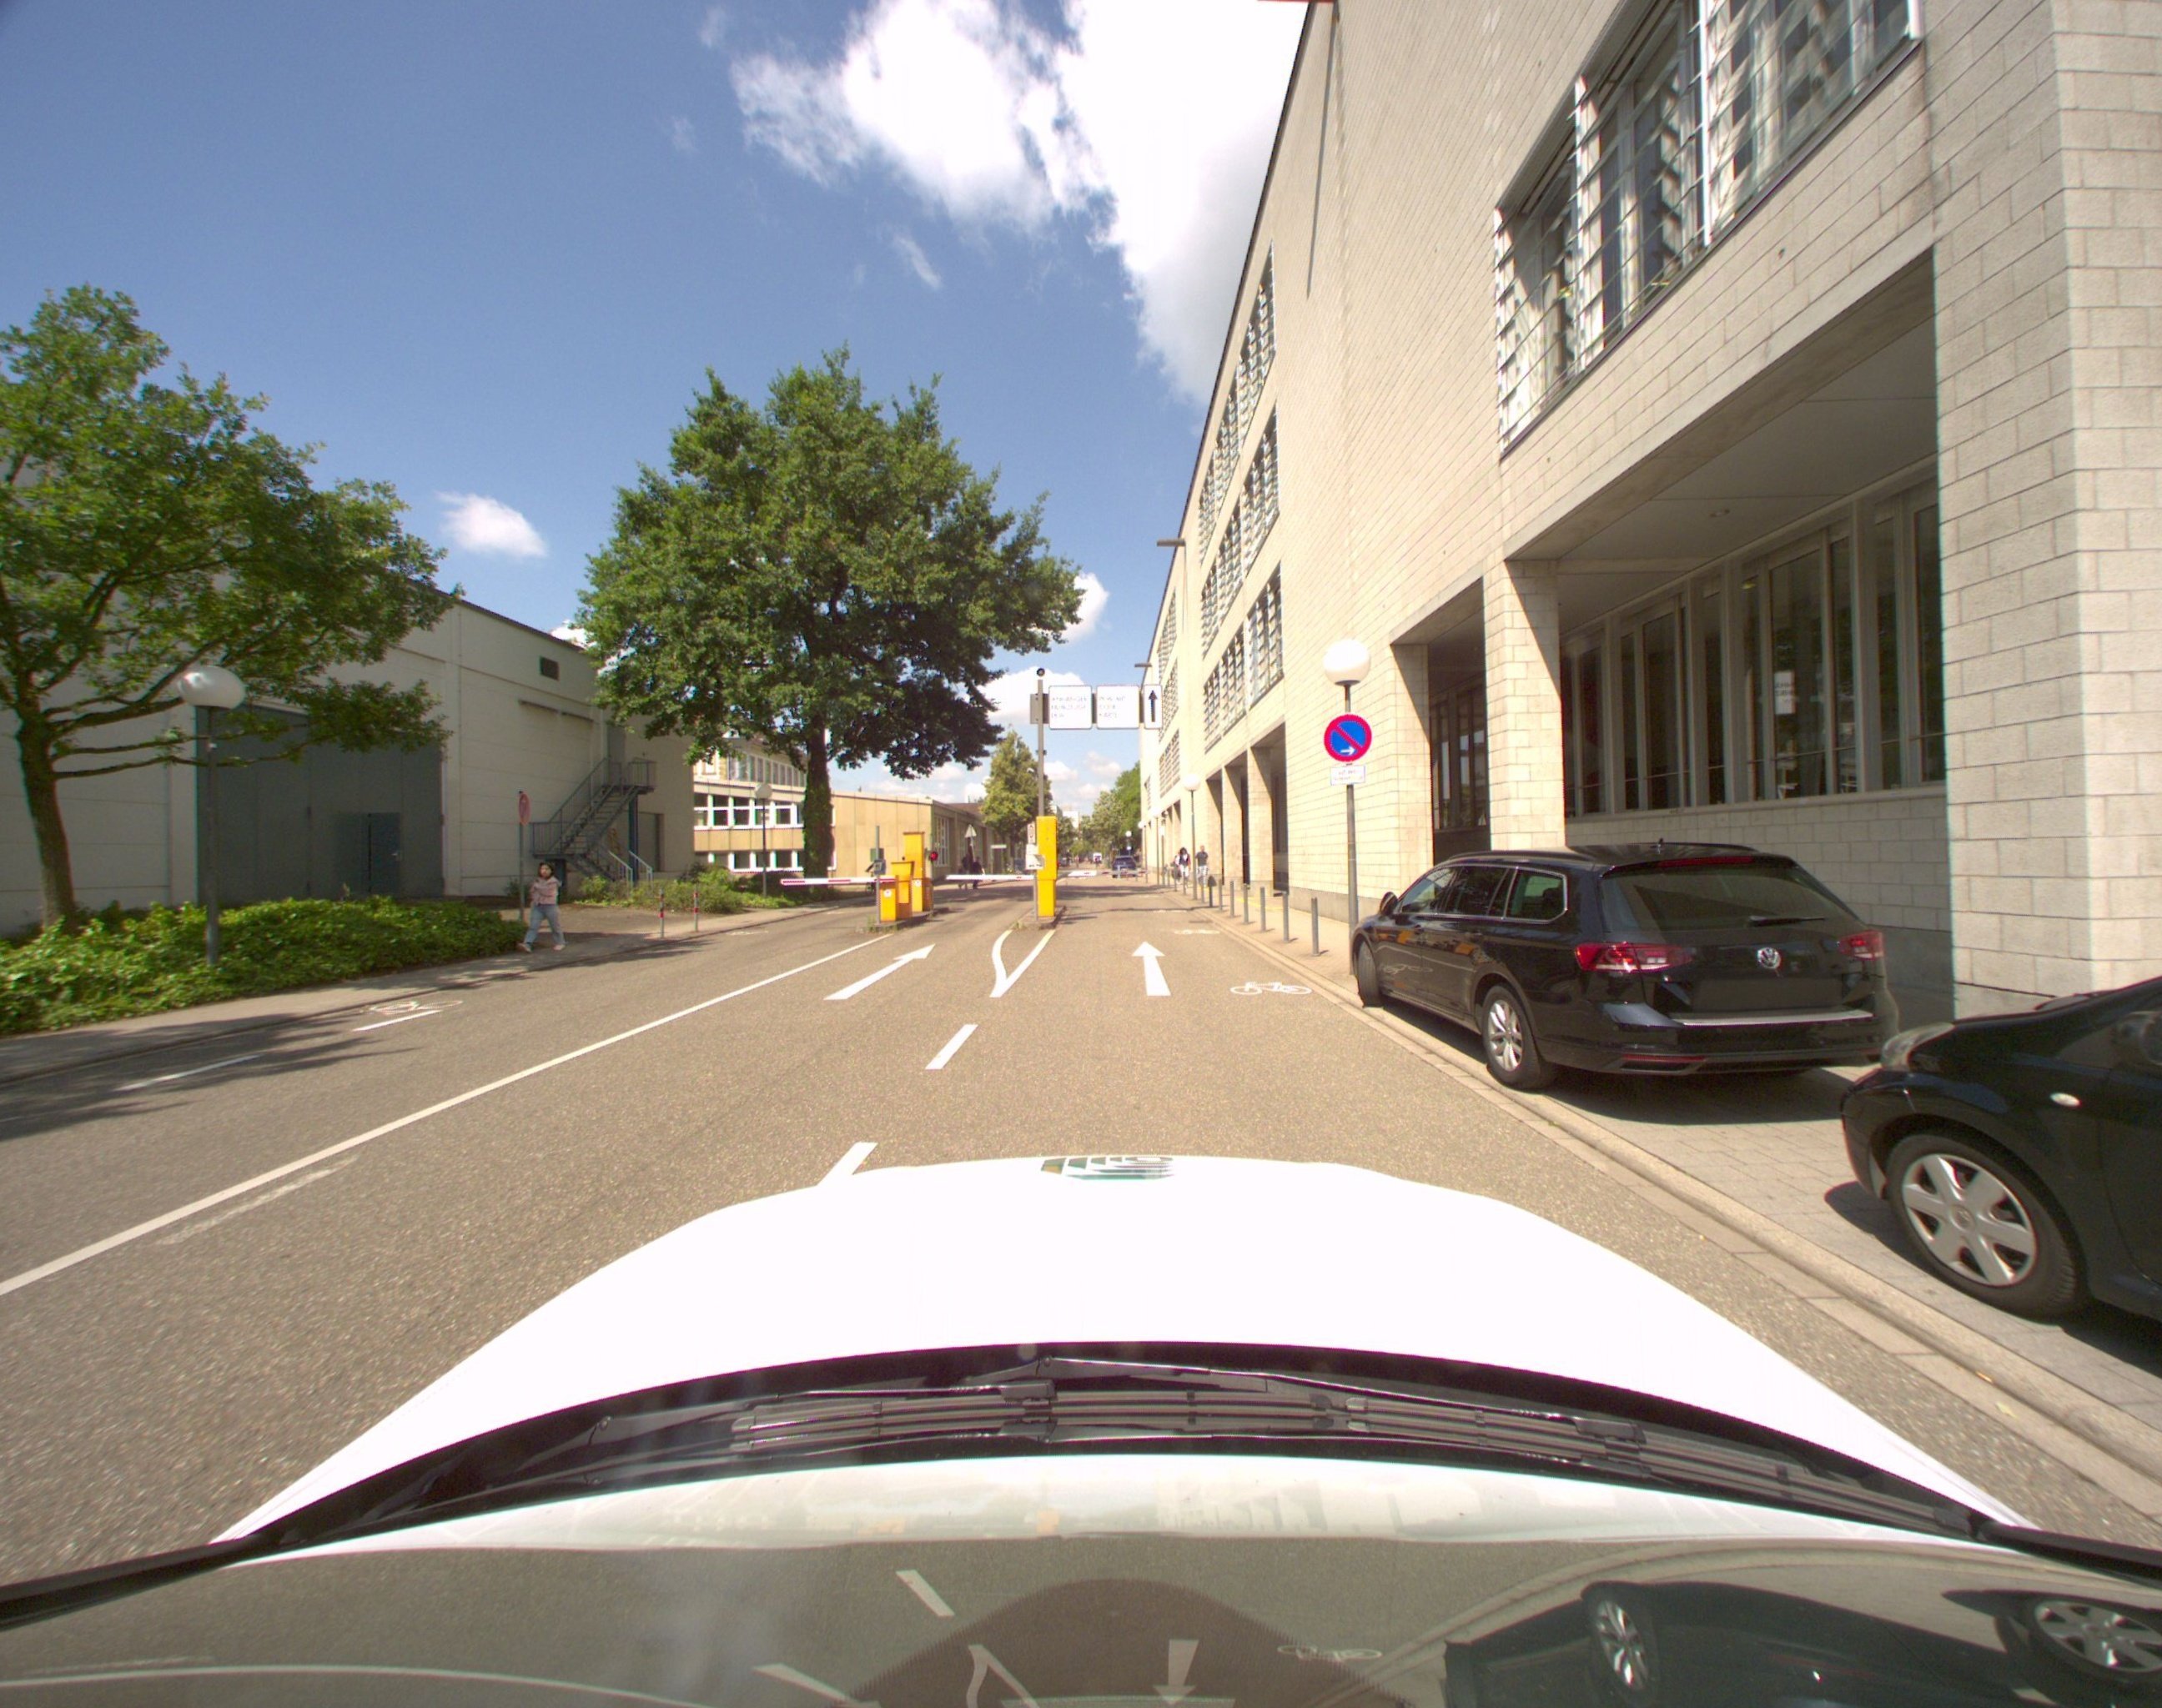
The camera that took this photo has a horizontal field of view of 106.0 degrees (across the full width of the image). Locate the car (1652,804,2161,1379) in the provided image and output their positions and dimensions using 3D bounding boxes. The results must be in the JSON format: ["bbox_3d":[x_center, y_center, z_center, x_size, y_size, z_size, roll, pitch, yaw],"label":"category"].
[{"bbox_3d":[3.605,0.601,1.977,1.609,1.496,4.005,-1,0,0],"label":"car"}]

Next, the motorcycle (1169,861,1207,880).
[{"bbox_3d":[6.286,0.969,48.009,2.114,1.023,0.660,-3,-2,2],"label":"motorcycle"}]

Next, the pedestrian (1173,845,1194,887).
[{"bbox_3d":[4.474,0.536,35.721,0.692,1.780,1.085,-3,0,-1],"label":"pedestrian"}]

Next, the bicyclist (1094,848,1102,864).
[{"bbox_3d":[2.299,0.237,112.189,0.984,2.132,1.036,-2,-2,0],"label":"bicyclist"}]

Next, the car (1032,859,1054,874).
[{"bbox_3d":[-4.179,1.402,90.026,1.986,1.546,4.213,-1,0,2],"label":"car"}]

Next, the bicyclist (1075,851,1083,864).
[{"bbox_3d":[-0.357,0.545,124.824,0.988,1.884,1.031,-1,-2,-13],"label":"bicyclist"}]

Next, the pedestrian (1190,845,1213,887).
[{"bbox_3d":[5.262,0.502,35.671,0.764,1.780,0.910,-3,0,-1],"label":"pedestrian"}]

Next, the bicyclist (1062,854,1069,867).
[{"bbox_3d":[-2.318,1.034,124.617,0.986,1.884,1.034,-1,-2,-6],"label":"bicyclist"}]

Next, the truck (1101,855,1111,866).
[{"bbox_3d":[5.033,1.346,164.898,1.987,2.014,3.998,-2,-2,0],"label":"truck"}]

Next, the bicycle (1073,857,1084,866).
[{"bbox_3d":[-0.358,1.118,124.843,0.988,1.316,2.949,-1,-2,-14],"label":"bicycle"}]

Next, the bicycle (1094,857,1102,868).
[{"bbox_3d":[2.334,1.159,112.216,0.984,1.316,2.964,-2,-2,1],"label":"bicycle"}]

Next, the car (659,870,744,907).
[{"bbox_3d":[-17.086,1.512,36.914,1.823,1.467,4.298,-1,0,0],"label":"car"}]

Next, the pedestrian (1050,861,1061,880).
[{"bbox_3d":[-2.243,1.454,71.658,0.891,1.632,0.887,-1,-1,-1],"label":"pedestrian"}]

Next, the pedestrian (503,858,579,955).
[{"bbox_3d":[-9.417,0.885,14.237,0.711,1.627,0.883,-1,-1,0],"label":"pedestrian"}]

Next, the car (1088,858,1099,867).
[{"bbox_3d":[2.671,1.867,173.176,1.985,1.720,4.003,-2,-2,4],"label":"car"}]

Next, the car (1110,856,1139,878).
[{"bbox_3d":[3.185,0.967,60.527,1.986,1.546,4.213,-1,0,2],"label":"car"}]

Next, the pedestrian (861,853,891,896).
[{"bbox_3d":[-8.872,0.884,35.287,1.053,1.816,0.806,-2,0,-1],"label":"pedestrian"}]

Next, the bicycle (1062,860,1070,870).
[{"bbox_3d":[-2.306,1.690,124.607,0.986,1.316,2.956,-1,-2,-7],"label":"bicycle"}]

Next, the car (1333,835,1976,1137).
[{"bbox_3d":[3.554,0.670,6.323,1.860,1.464,4.521,-1,0,1],"label":"car"}]

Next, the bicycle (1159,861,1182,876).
[{"bbox_3d":[6.339,1.025,57.661,1.535,1.066,0.649,-2,-1,8],"label":"bicycle"}]

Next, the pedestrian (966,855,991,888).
[{"bbox_3d":[-5.183,0.888,41.246,0.876,1.632,0.902,-2,-2,41],"label":"pedestrian"}]

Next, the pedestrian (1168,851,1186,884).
[{"bbox_3d":[4.854,0.669,41.086,0.739,1.632,0.887,-3,0,-1],"label":"pedestrian"}]

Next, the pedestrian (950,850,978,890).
[{"bbox_3d":[-5.815,0.802,40.461,0.876,1.925,1.012,-2,-2,41],"label":"pedestrian"}]

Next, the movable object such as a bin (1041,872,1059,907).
[{"bbox_3d":[-0.823,0.946,21.824,0.414,0.905,0.353,-1,0,5],"label":"movable object such as a bin"}]

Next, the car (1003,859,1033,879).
[{"bbox_3d":[-5.227,1.256,68.104,1.986,1.546,4.213,-1,0,2],"label":"car"}]

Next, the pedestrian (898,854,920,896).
[{"bbox_3d":[-7.467,0.905,35.422,0.703,1.809,1.001,-1,0,0],"label":"pedestrian"}]
